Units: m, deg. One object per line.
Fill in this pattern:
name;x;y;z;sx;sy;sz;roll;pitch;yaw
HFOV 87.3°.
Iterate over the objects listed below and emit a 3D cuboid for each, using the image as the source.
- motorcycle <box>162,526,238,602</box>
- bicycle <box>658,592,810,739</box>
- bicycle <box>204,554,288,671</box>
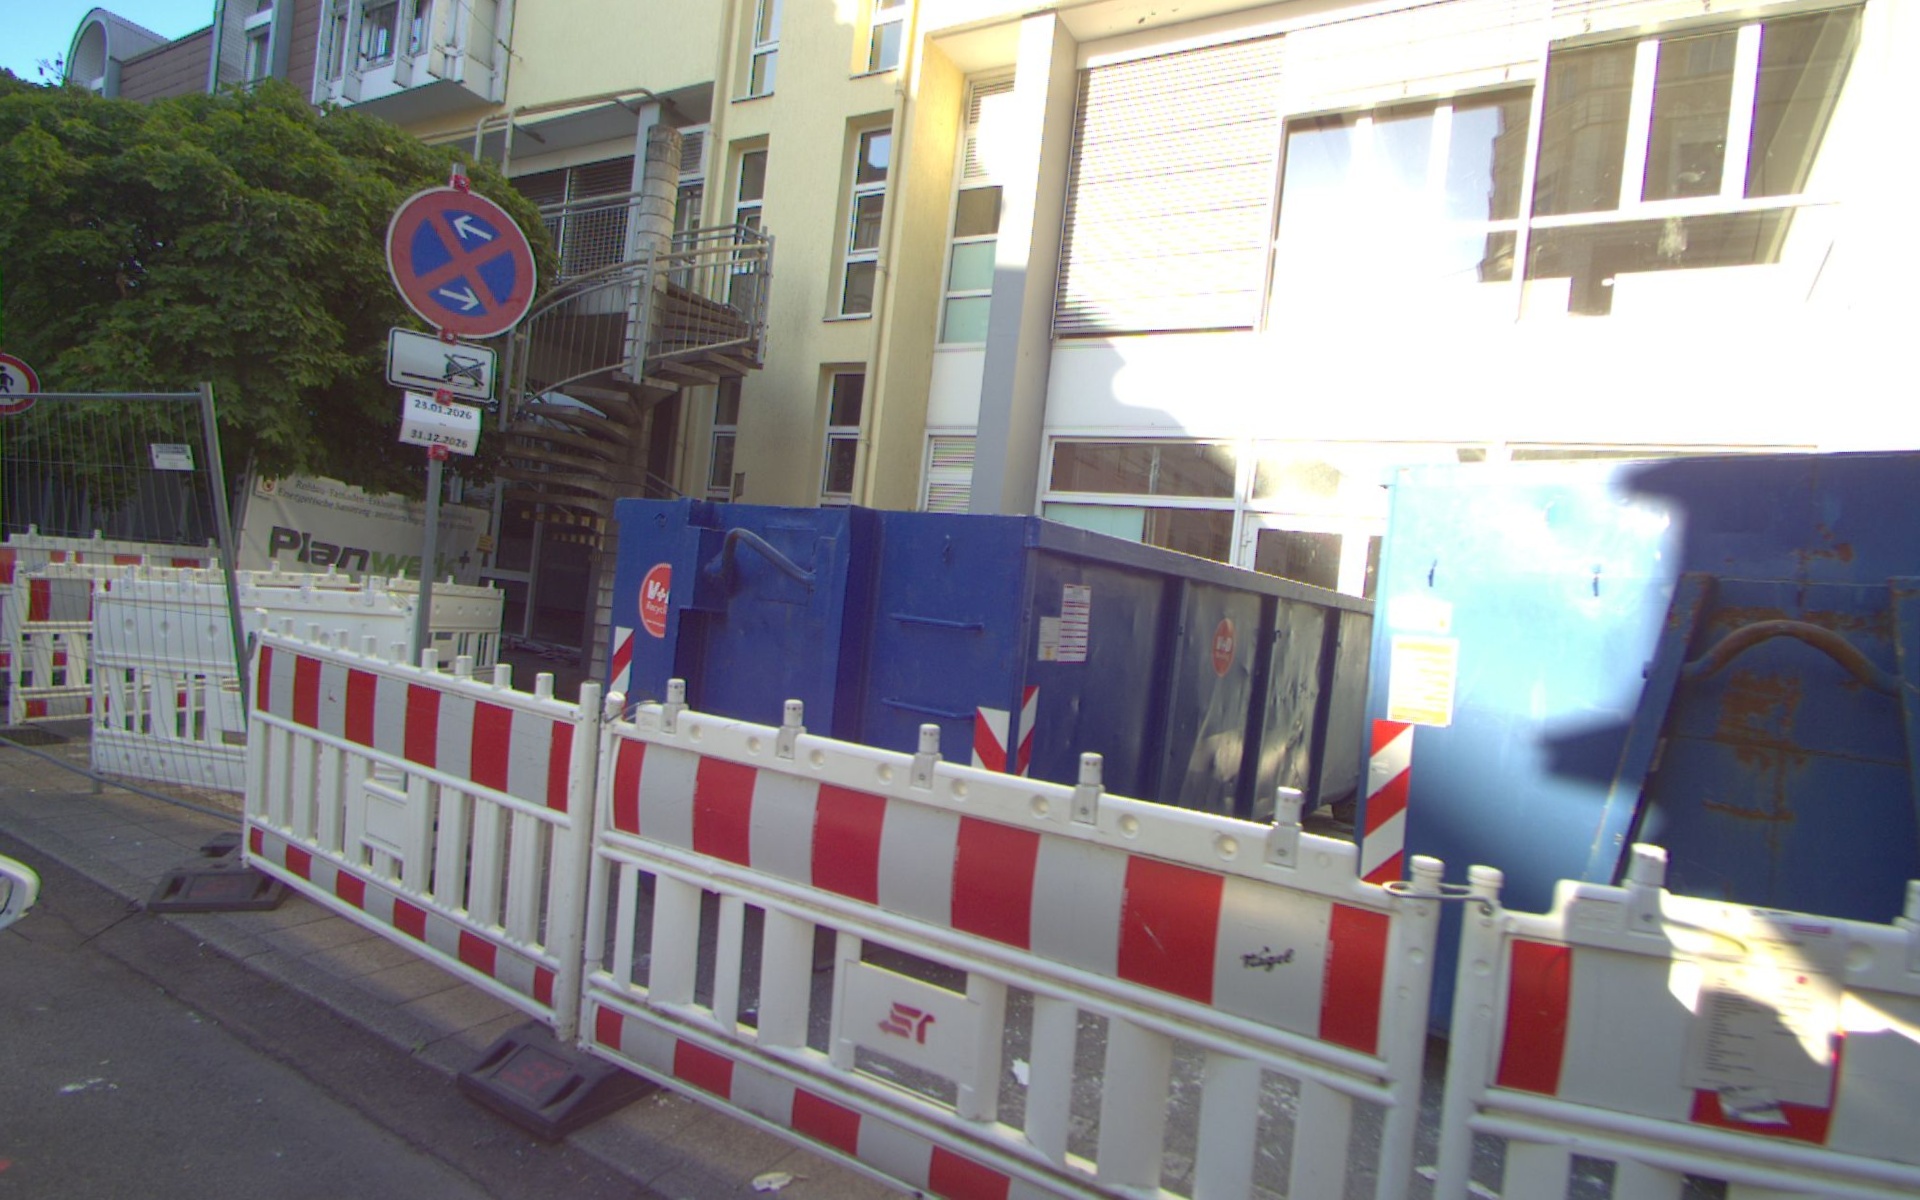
motorcycle;-14.069;-0.681;18.583;0.866;1.237;2.429;6;-1;-41
bicycle;-2.184;0.660;9.967;0.539;1.282;1.652;6;-2;19
bicycle;-7.401;0.111;10.413;0.564;1.082;1.353;8;-2;-37
